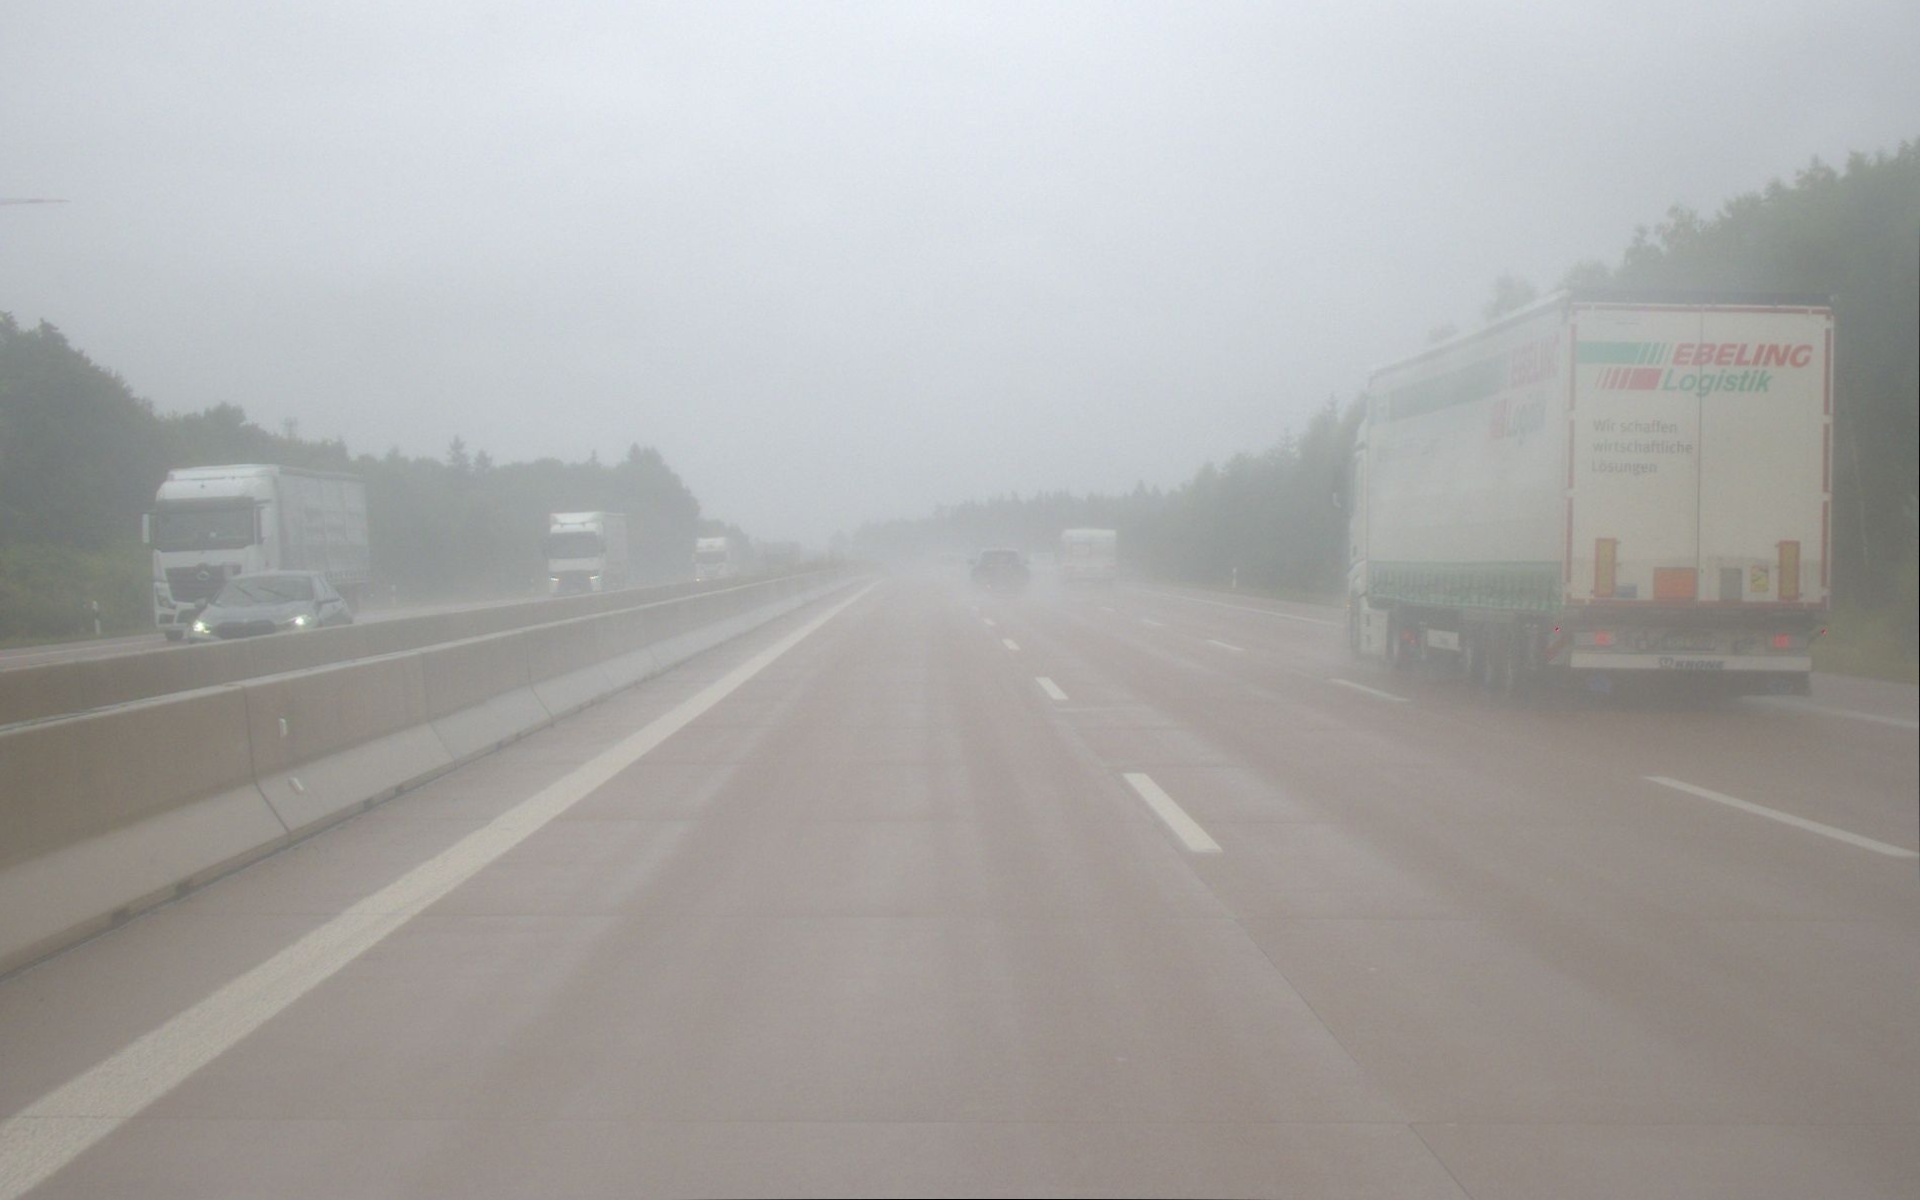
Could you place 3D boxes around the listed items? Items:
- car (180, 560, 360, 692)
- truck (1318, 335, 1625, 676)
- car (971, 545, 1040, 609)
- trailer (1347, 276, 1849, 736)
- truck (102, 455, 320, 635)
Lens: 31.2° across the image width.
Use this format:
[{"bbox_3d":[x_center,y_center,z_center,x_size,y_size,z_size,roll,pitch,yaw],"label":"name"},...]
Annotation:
[{"bbox_3d":[-9.826,0.333,49.215,1.788,1.790,3.877,0,1,0],"label":"car"},{"bbox_3d":[6.573,-1.231,45.108,2.880,4.092,6.350,-2,1,-1],"label":"truck"},{"bbox_3d":[1.479,-0.774,113.111,2.173,1.974,4.130,-2,1,0],"label":"car"},{"bbox_3d":[6.703,-1.040,38.647,2.852,4.217,13.133,-2,1,-1],"label":"trailer"},{"bbox_3d":[-17.679,-1.272,81.710,3.472,3.875,7.464,-3,1,-1],"label":"truck"}]
